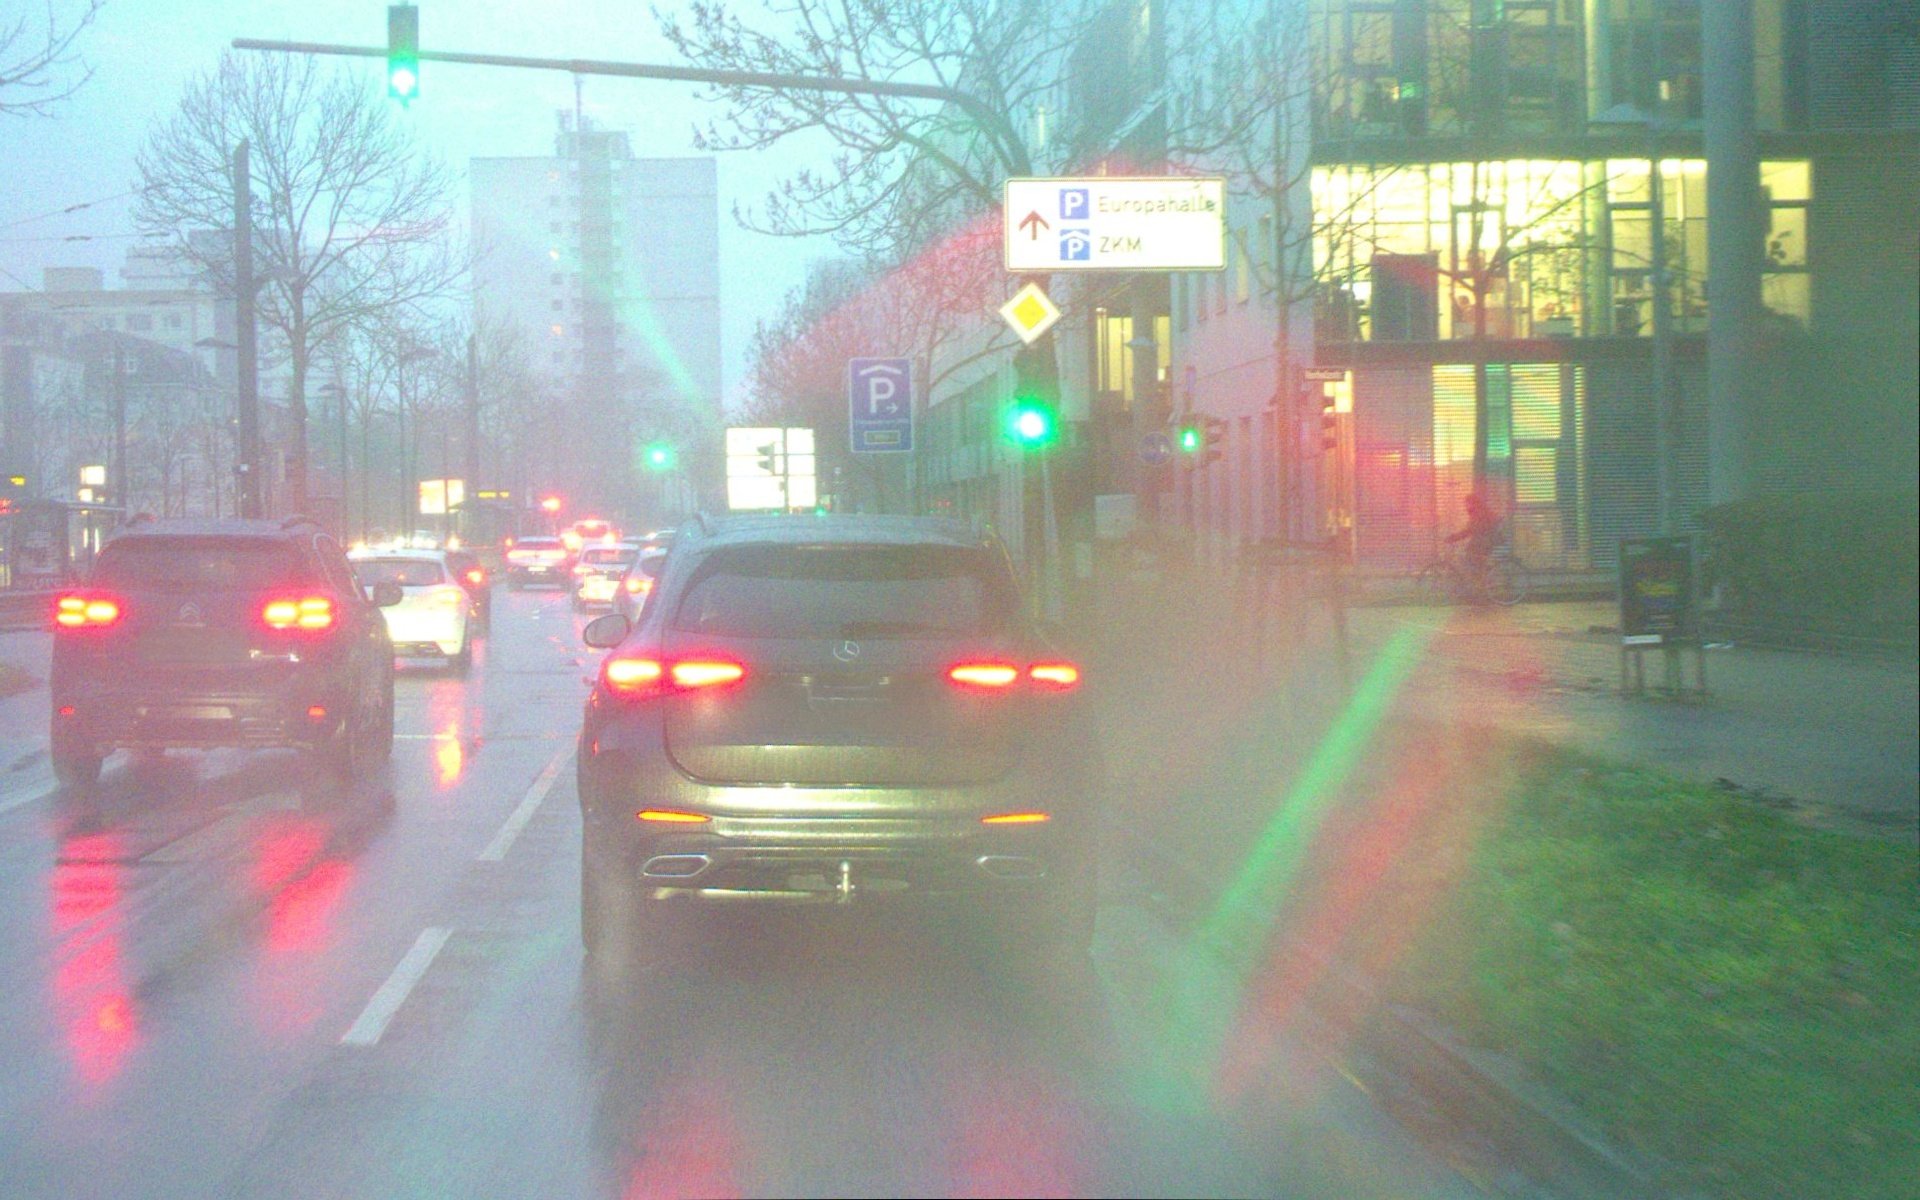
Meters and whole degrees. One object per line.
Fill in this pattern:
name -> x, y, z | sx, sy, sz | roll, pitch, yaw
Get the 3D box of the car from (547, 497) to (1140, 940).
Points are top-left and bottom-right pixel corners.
car -> -0.531, 0.380, 13.531 | 1.993, 1.478, 3.701 | 1, 1, -4

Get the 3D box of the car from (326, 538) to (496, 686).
car -> -6.434, 0.105, 40.570 | 1.689, 1.629, 3.474 | 1, 1, -4

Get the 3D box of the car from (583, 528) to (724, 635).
car -> -4.610, -0.302, 52.177 | 1.867, 1.537, 3.611 | 1, 1, -1

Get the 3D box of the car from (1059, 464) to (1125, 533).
car -> 3.491, -2.684, 91.453 | 1.627, 1.753, 3.422 | 1, 1, 1

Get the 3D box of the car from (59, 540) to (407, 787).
car -> -4.668, 0.348, 22.575 | 1.817, 1.445, 4.001 | 1, 1, -6

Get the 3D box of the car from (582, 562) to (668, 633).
car -> -7.241, -0.065, 74.550 | 1.559, 1.455, 3.112 | 1, 1, -1

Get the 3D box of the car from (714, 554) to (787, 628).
car -> -5.059, -0.234, 83.373 | 1.575, 1.699, 3.702 | 1, 1, -1

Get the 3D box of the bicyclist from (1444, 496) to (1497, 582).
bicyclist -> 7.921, -0.951, 53.351 | 0.622, 1.325, 0.565 | 1, 1, 29

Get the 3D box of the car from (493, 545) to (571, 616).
car -> -12.708, -0.604, 102.274 | 1.993, 2.007, 4.001 | 1, 1, -3

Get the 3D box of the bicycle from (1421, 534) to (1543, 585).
bicycle -> 8.077, -0.630, 53.238 | 1.731, 0.743, 0.650 | 2, 1, 30

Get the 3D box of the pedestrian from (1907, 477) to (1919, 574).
pedestrian -> 16.676, -1.257, 58.619 | 0.807, 1.648, 0.726 | 1, 1, -2

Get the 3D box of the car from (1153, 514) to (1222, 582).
car -> 6.032, -1.388, 91.429 | 1.627, 1.753, 3.422 | 1, 1, 1

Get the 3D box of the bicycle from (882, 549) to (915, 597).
bicycle -> -1.290, -0.569, 71.792 | 0.544, 0.962, 1.346 | 1, 1, -7

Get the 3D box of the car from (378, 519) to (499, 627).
car -> -8.849, -0.458, 58.561 | 1.662, 1.753, 3.568 | 1, 1, -3
